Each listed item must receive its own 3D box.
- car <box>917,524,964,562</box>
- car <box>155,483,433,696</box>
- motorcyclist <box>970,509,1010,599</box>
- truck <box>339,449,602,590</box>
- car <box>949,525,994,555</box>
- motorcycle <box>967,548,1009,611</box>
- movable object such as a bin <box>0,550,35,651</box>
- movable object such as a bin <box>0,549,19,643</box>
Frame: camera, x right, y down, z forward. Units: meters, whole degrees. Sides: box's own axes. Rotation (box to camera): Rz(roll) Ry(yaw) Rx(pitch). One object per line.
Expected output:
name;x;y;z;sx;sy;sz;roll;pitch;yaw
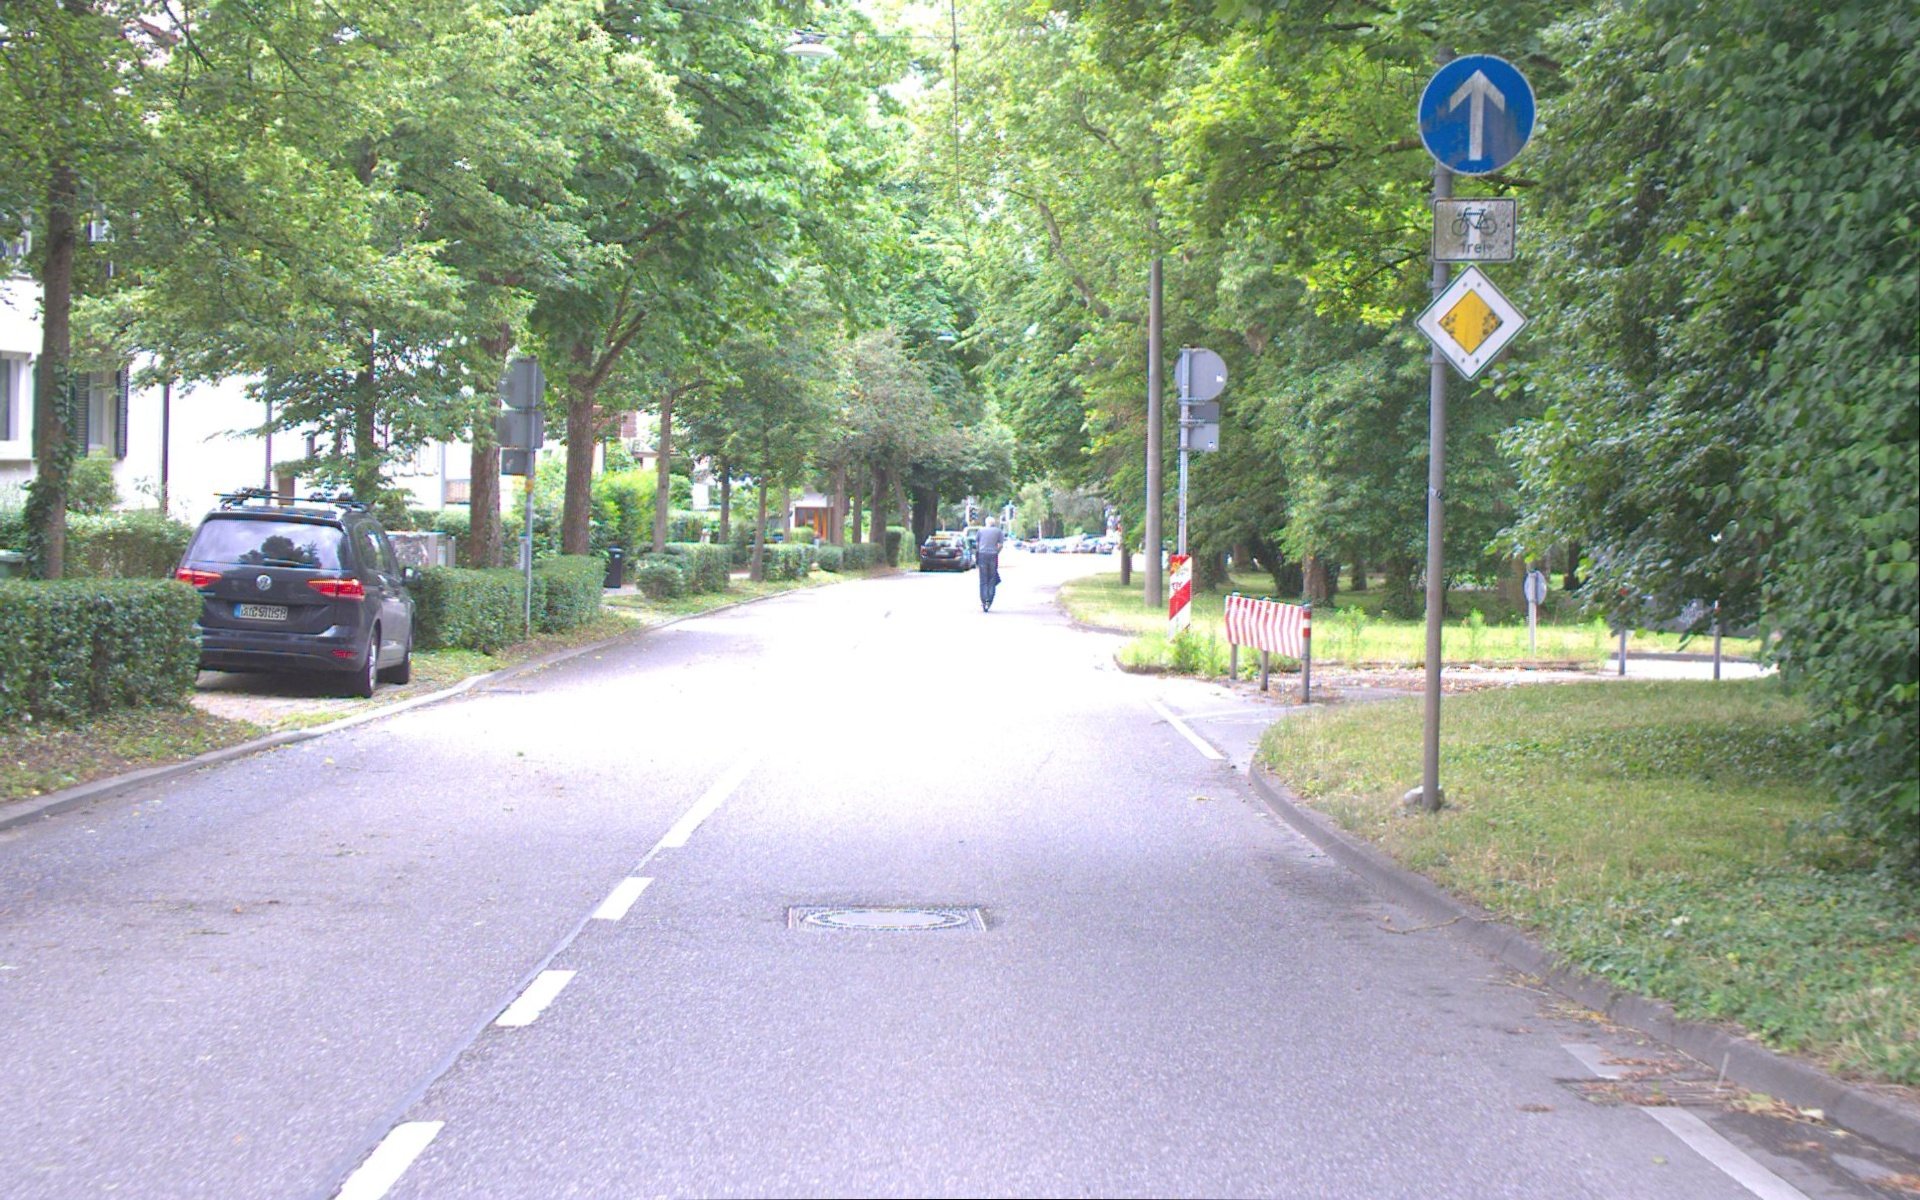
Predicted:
car;-0.771;-2.294;138.847;1.794;1.467;4.418;1;1;1
car;-5.966;-0.137;31.255;1.824;1.748;4.454;2;1;-3
motorcyclist;0.592;-0.913;68.234;0.673;1.755;0.639;3;1;5
truck;-11.591;-1.906;81.662;5.796;3.120;2.518;2;1;1
car;0.594;-2.955;169.607;1.892;1.405;4.553;1;0;4
motorcycle;0.556;-0.415;68.052;0.673;1.213;1.273;3;1;5
movable object such as a bin;-9.880;-0.001;35.448;0.559;1.022;0.602;1;1;-5
movable object such as a bin;-9.868;-0.048;34.771;0.559;0.937;0.641;1;1;-5
